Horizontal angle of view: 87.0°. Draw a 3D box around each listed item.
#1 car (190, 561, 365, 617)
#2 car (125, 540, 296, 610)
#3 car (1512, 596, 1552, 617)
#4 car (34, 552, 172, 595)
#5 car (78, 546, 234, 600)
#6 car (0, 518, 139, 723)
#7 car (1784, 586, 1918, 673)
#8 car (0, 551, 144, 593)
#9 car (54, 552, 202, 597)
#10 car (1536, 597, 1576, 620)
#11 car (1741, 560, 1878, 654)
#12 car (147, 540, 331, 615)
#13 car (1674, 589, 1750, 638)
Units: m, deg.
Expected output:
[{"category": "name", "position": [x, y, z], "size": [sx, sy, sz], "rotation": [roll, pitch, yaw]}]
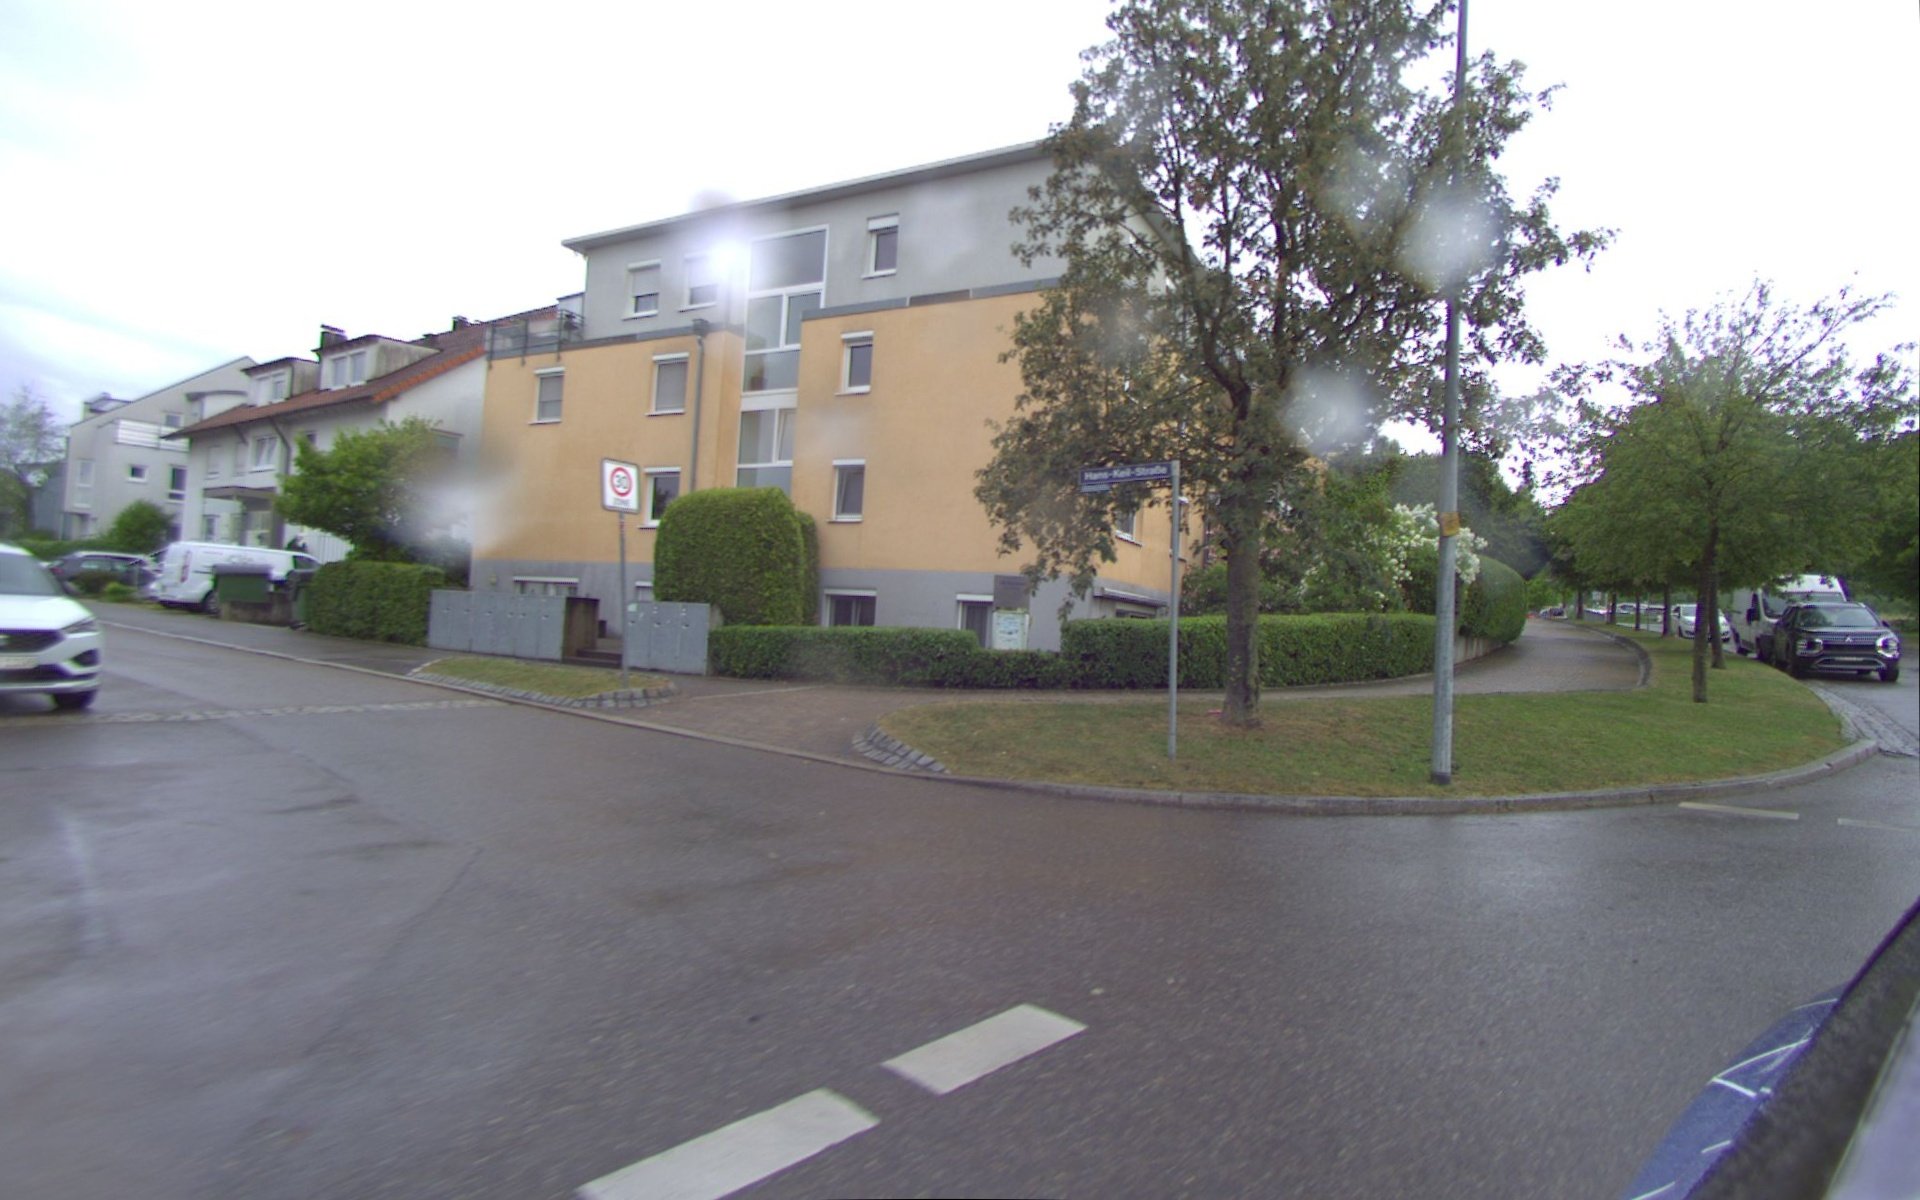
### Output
[{"category": "car", "position": [-18.834, -0.312, 28.059], "size": [1.710, 1.433, 3.640], "rotation": [2, 2, 33]}, {"category": "car", "position": [-22.837, -0.752, 30.950], "size": [1.722, 1.987, 3.843], "rotation": [2, 2, 33]}, {"category": "car", "position": [53.036, 0.571, 93.872], "size": [1.945, 1.871, 3.989], "rotation": [0, 1, 10]}, {"category": "car", "position": [-31.850, -0.982, 37.689], "size": [1.705, 1.490, 3.614], "rotation": [2, 2, 35]}, {"category": "car", "position": [-26.892, -0.881, 33.952], "size": [1.769, 1.670, 3.734], "rotation": [2, 2, 31]}, {"category": "car", "position": [-10.493, 0.085, 10.397], "size": [4.682, 1.837, 1.924], "rotation": [3, 2, 34]}, {"category": "car", "position": [20.327, 0.576, 23.275], "size": [1.806, 1.748, 4.593], "rotation": [1, 1, 35]}, {"category": "car", "position": [-34.062, -1.058, 38.853], "size": [1.817, 1.513, 3.898], "rotation": [2, 2, 33]}, {"category": "car", "position": [-29.300, -0.895, 35.704], "size": [1.735, 1.477, 3.751], "rotation": [3, 2, 37]}, {"category": "car", "position": [51.727, 0.697, 87.855], "size": [1.948, 1.871, 3.982], "rotation": [0, 1, 15]}, {"category": "car", "position": [23.546, 0.167, 28.287], "size": [2.037, 2.360, 5.348], "rotation": [1, 0, 31]}, {"category": "car", "position": [-20.978, -0.653, 29.570], "size": [1.987, 2.038, 3.950], "rotation": [2, 2, 35]}, {"category": "car", "position": [30.746, 0.508, 41.500], "size": [1.807, 1.807, 3.785], "rotation": [1, 2, 26]}]
